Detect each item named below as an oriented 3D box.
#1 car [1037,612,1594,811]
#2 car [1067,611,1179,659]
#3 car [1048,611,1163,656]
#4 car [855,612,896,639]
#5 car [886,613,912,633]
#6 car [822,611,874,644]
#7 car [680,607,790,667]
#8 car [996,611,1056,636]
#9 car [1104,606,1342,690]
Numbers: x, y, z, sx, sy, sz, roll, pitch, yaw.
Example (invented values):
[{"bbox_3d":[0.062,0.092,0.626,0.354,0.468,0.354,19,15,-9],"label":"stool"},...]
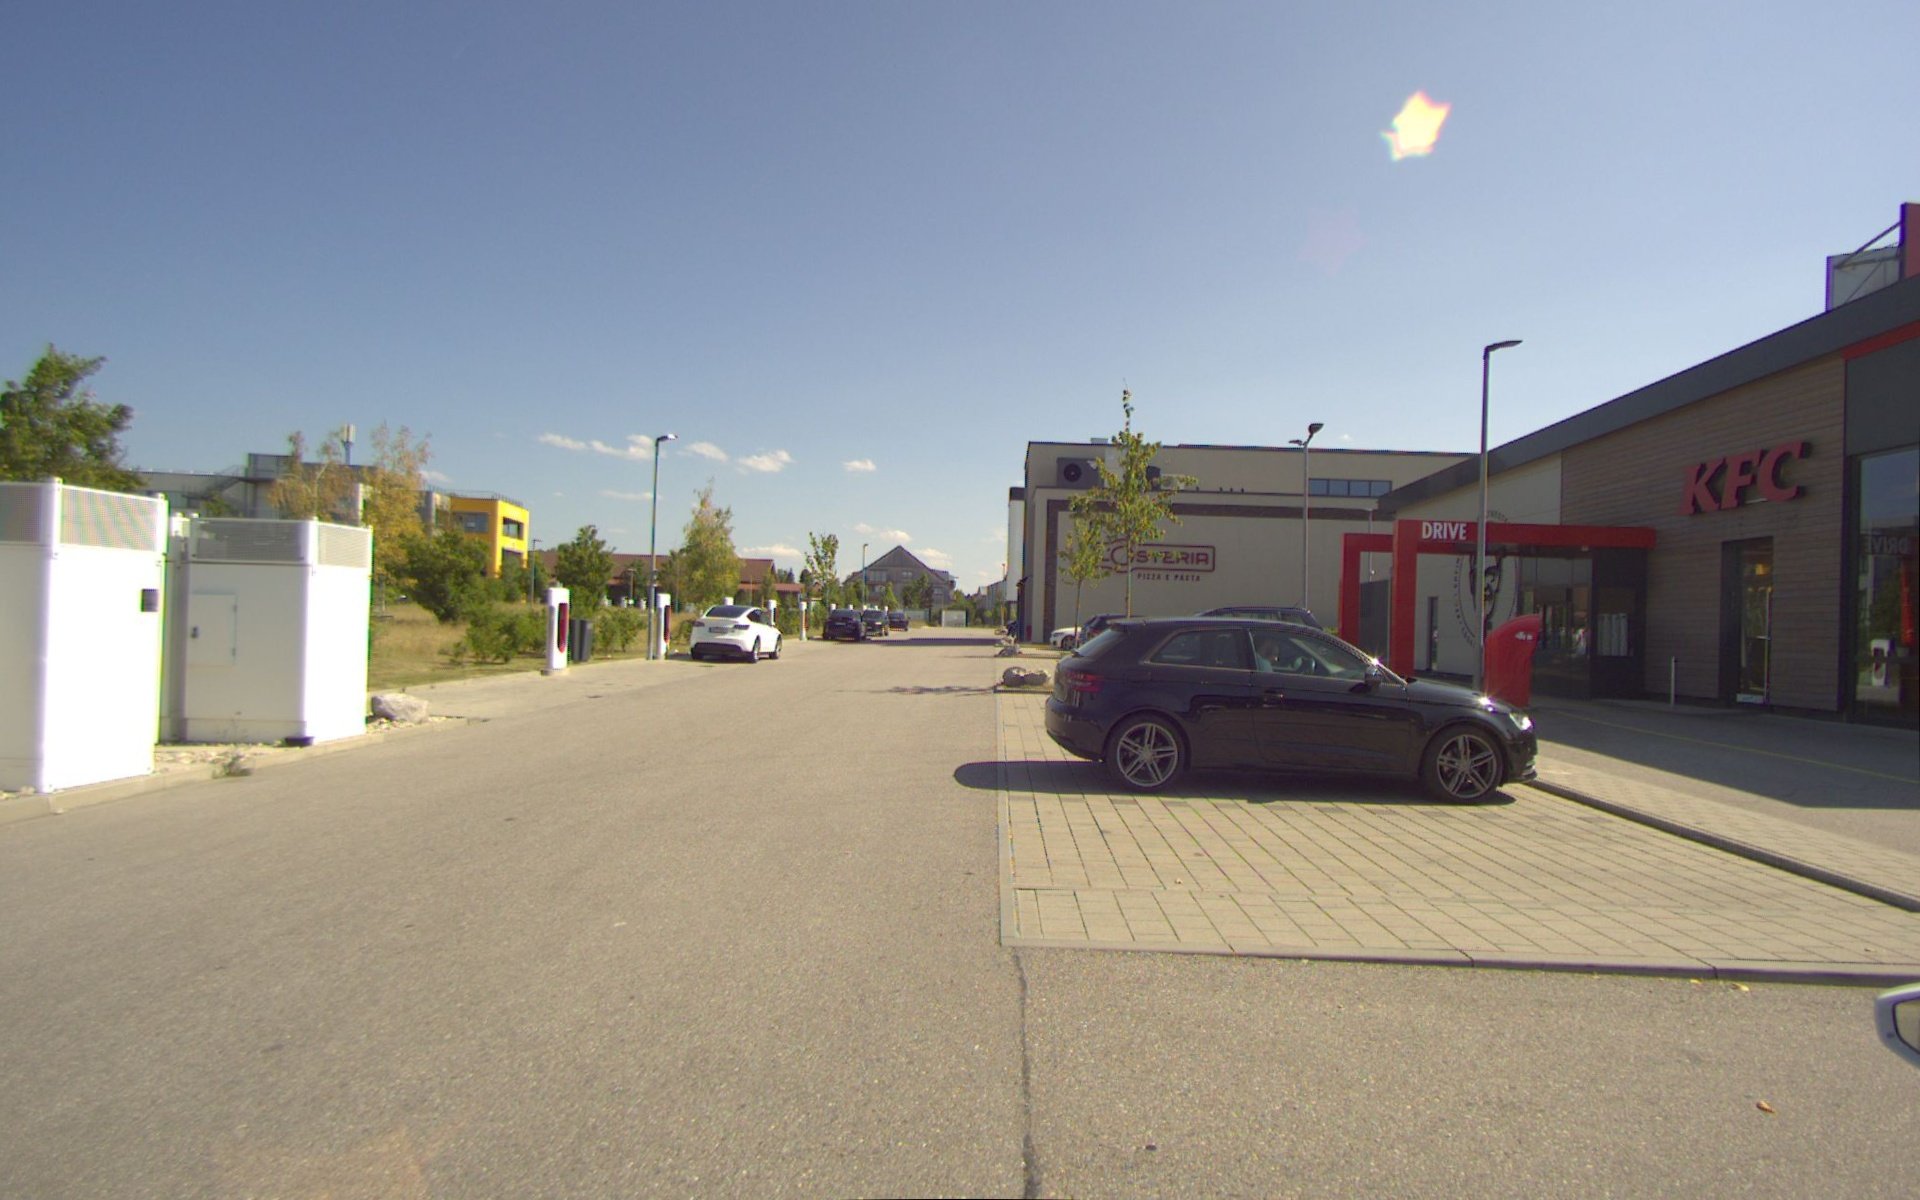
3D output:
[{"bbox_3d":[2.859,0.886,8.772,4.229,1.430,1.730,2,0,1],"label":"car"},{"bbox_3d":[6.090,1.300,37.923,3.921,1.630,1.789,2,0,0],"label":"car"},{"bbox_3d":[5.818,1.317,40.573,4.359,1.630,1.789,2,0,0],"label":"car"},{"bbox_3d":[-5.289,1.586,63.356,2.029,1.528,4.001,3,-1,1],"label":"car"},{"bbox_3d":[-4.872,1.817,80.573,1.776,1.528,4.001,1,-1,1],"label":"car"},{"bbox_3d":[-5.715,1.389,51.625,2.029,1.528,4.001,3,-1,1],"label":"car"},{"bbox_3d":[-6.691,1.067,30.402,2.174,1.546,4.434,3,-1,1],"label":"car"},{"bbox_3d":[4.690,1.684,71.919,4.078,1.687,1.850,-1,0,-3],"label":"car"},{"bbox_3d":[5.403,0.965,21.086,4.461,1.590,2.000,1,-1,0],"label":"car"}]
